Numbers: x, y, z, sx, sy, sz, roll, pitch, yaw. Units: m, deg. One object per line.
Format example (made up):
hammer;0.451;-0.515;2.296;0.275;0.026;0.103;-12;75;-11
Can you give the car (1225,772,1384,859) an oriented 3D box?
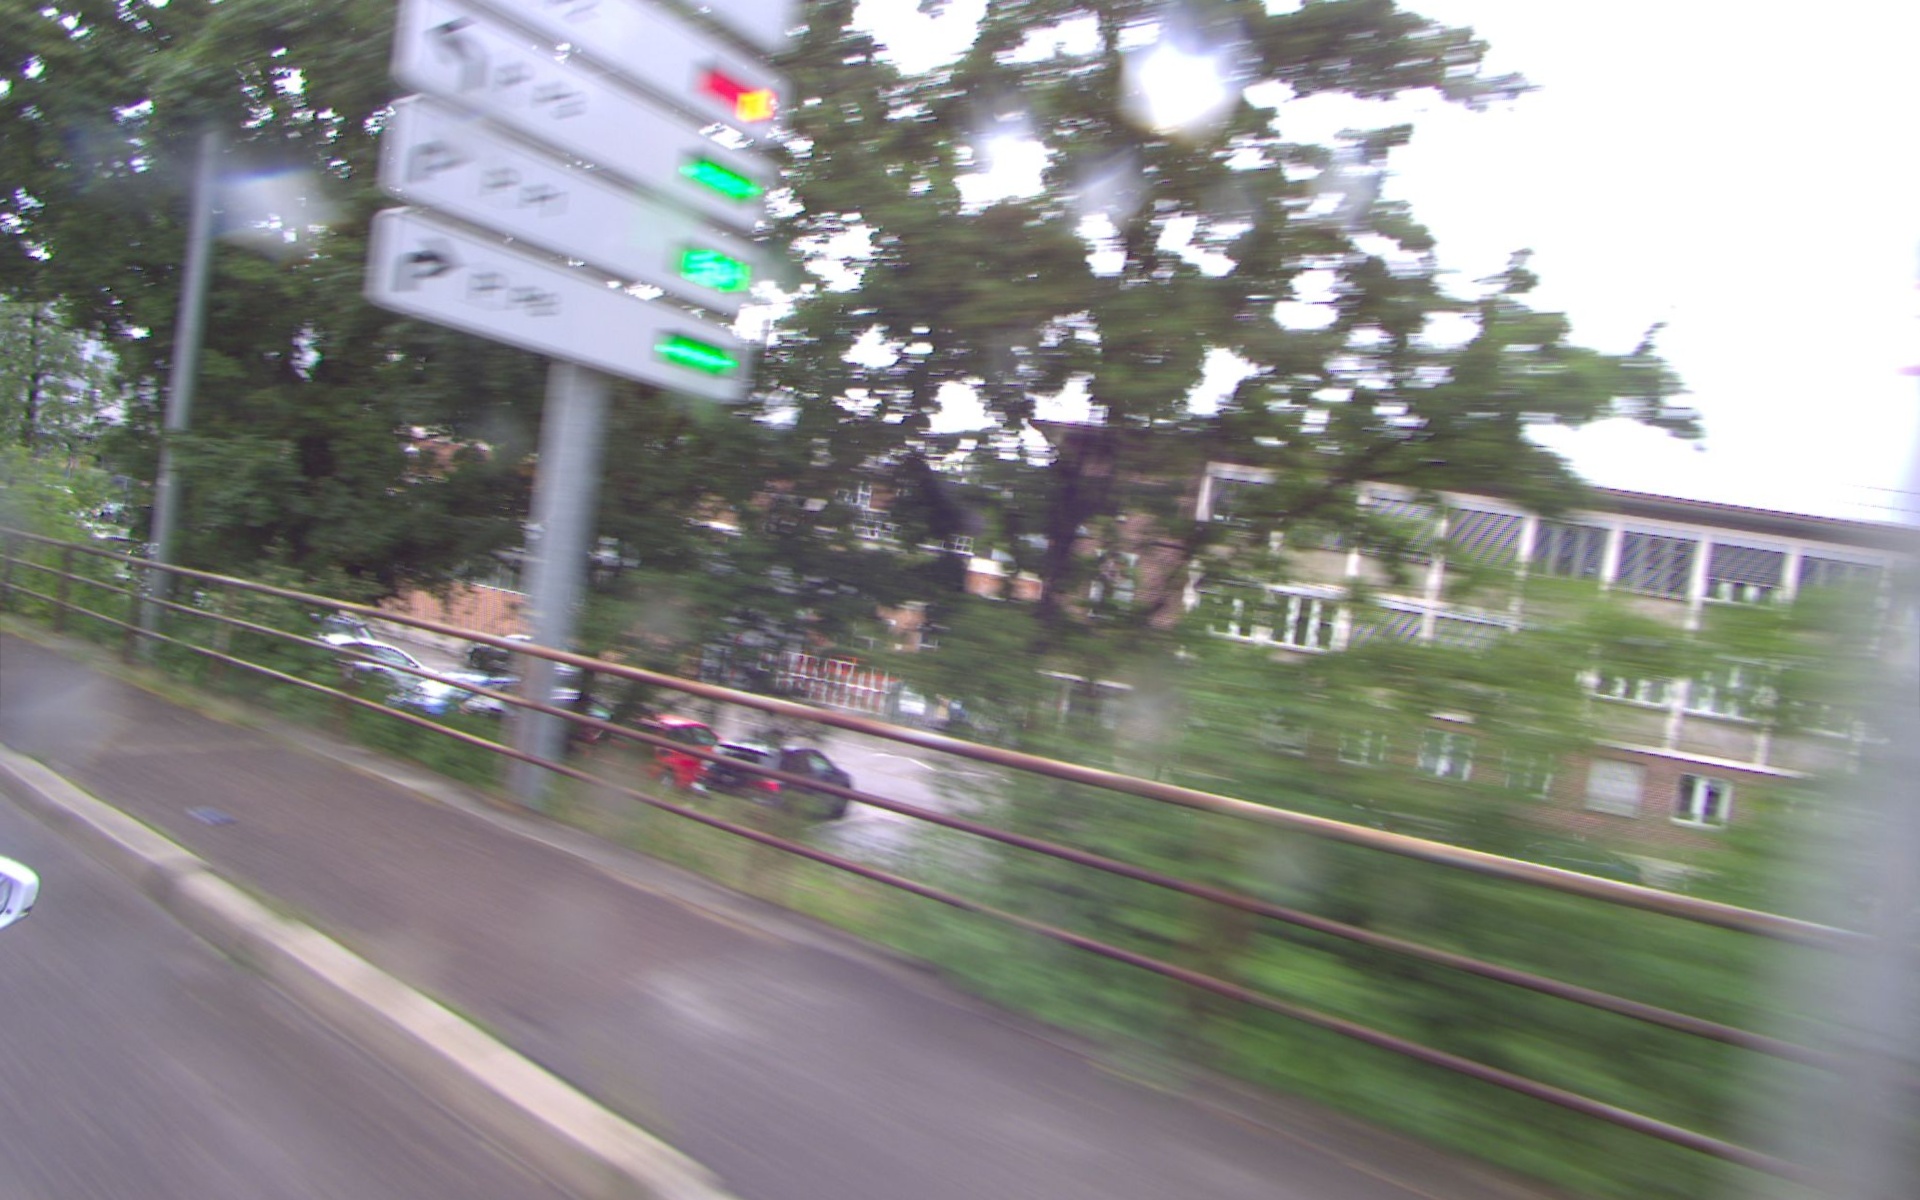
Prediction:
car;9.513;5.944;28.037;3.924;1.412;1.669;8;0;16

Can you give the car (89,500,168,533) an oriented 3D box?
car;-57.631;-5.780;69.718;4.087;1.547;1.838;8;-1;9

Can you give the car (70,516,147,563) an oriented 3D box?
car;-43.704;-3.094;51.627;4.192;1.628;1.701;11;0;32

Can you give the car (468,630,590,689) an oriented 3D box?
car;-15.455;2.129;36.092;3.786;1.504;1.703;8;0;21

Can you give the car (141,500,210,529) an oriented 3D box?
car;-65.730;-7.174;84.353;3.924;1.620;1.904;10;0;-16

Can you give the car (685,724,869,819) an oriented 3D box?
car;-3.284;3.217;18.843;1.521;1.317;3.869;8;-7;20

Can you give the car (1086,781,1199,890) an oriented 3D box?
car;3.717;4.606;20.097;1.487;1.413;3.414;9;-2;20

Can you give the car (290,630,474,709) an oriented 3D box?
car;-14.291;1.772;25.079;1.523;1.317;3.572;7;-7;29

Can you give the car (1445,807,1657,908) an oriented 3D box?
car;15.483;6.733;26.596;4.366;1.542;1.749;8;-1;12

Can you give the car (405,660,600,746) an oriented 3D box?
car;-9.998;2.323;22.240;1.523;1.317;3.572;7;-7;29

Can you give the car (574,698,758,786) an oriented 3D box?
car;-5.705;2.874;19.972;1.521;1.317;3.577;8;-7;21
